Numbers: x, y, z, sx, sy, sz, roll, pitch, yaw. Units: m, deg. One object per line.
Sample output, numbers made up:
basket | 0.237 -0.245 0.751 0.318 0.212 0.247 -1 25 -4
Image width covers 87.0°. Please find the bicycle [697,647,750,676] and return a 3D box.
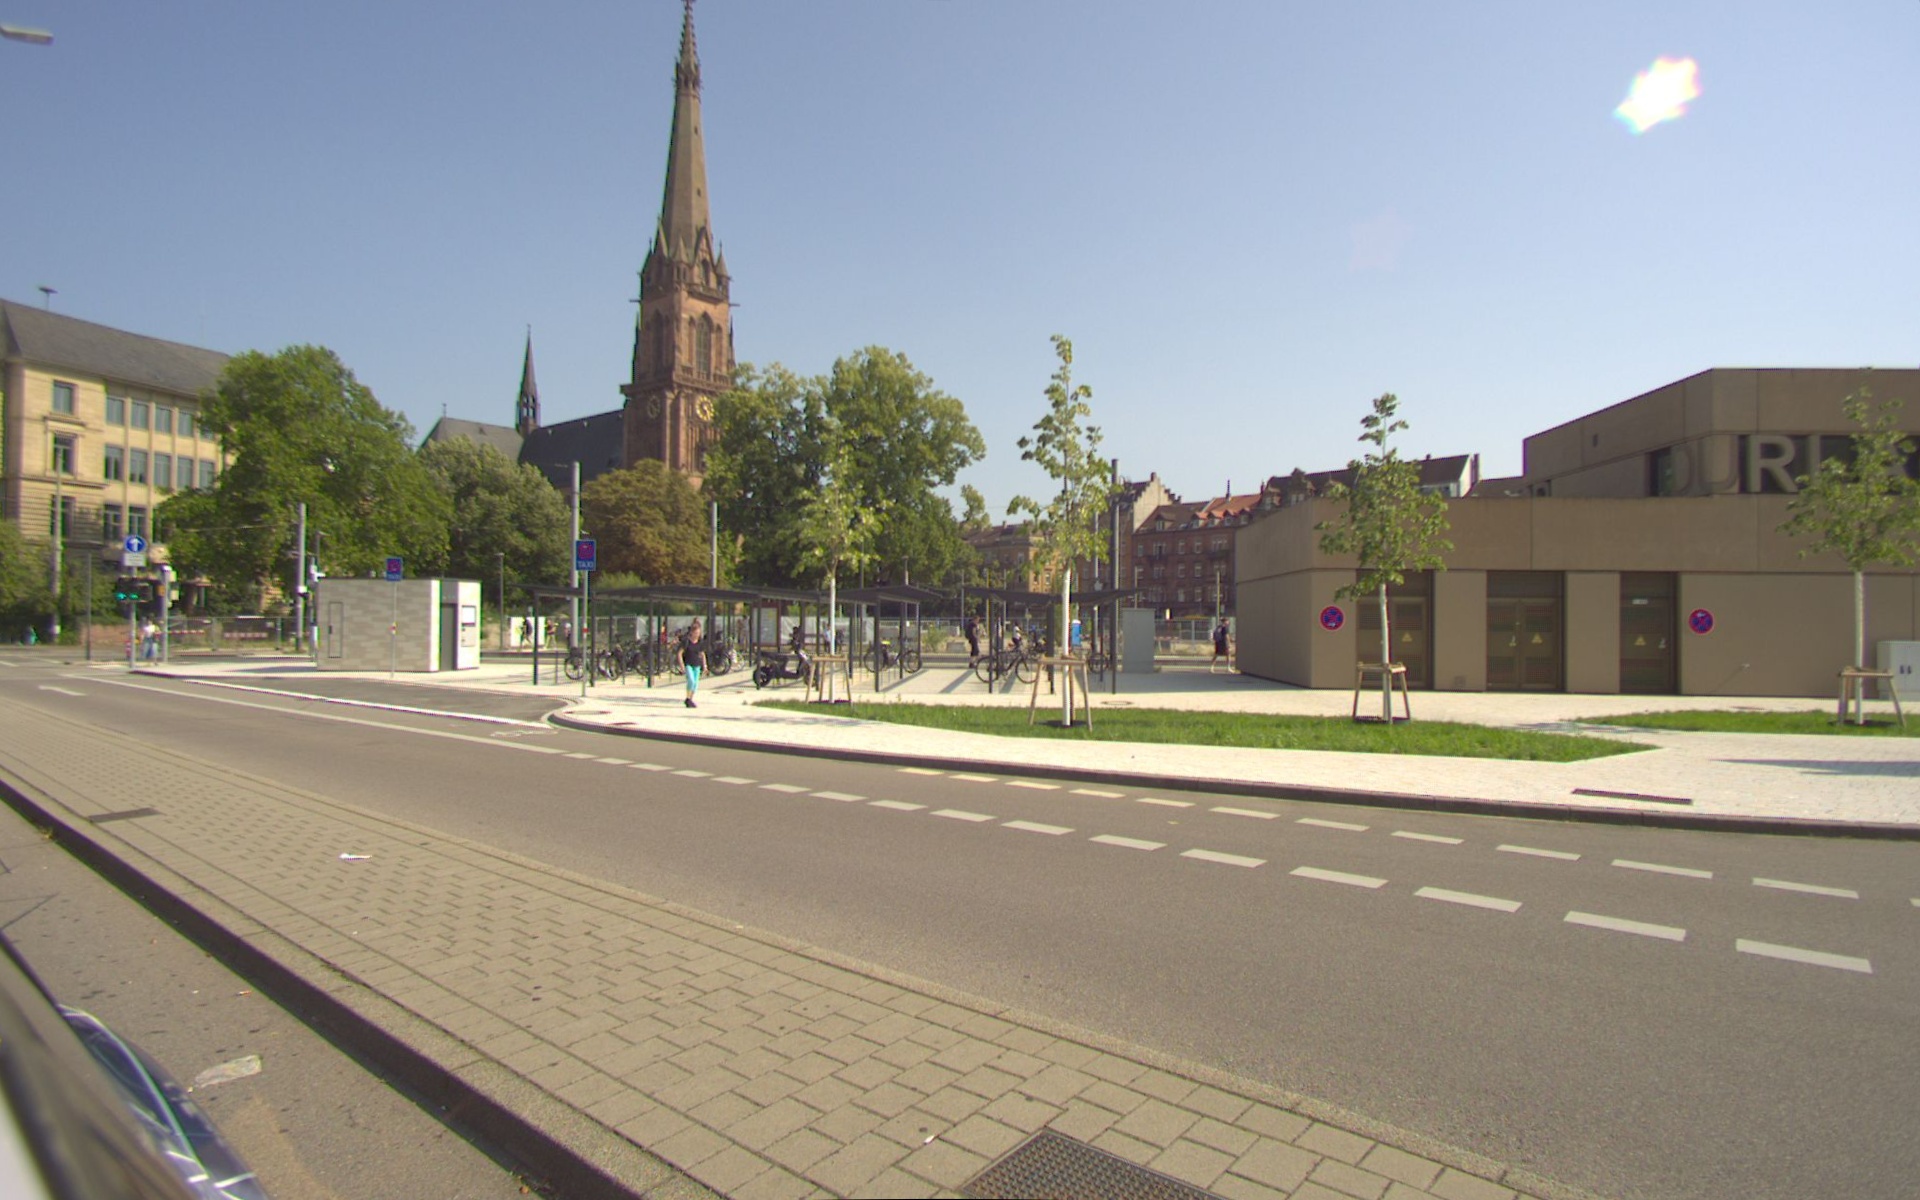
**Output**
bicycle | -7.504 1.942 32.106 1.569 0.899 0.409 0 -2 7

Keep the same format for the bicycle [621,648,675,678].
bicycle | -9.571 1.923 31.050 1.569 0.899 0.400 0 -2 7

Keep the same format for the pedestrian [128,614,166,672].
pedestrian | -28.862 1.509 35.934 0.722 2.029 0.715 0 -2 -4

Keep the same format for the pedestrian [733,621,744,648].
pedestrian | -10.505 1.632 47.995 0.378 1.233 0.439 -1 0 7

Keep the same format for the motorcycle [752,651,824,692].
motorcycle | -4.354 1.809 25.693 1.724 1.017 0.542 0 -2 7

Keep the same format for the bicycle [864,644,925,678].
bicycle | -2.046 1.899 31.640 1.852 1.017 0.461 0 -2 7

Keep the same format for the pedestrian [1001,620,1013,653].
pedestrian | 2.080 1.612 44.683 0.464 1.432 0.567 -1 0 7

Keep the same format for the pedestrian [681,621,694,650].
pedestrian | -12.535 1.620 46.551 0.429 1.328 0.439 -1 0 7

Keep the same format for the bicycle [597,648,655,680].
bicycle | -9.679 1.858 29.376 1.569 0.899 0.400 0 -2 7

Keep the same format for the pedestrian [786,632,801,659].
pedestrian | -7.561 2.075 45.957 0.567 1.206 0.467 0 -2 7

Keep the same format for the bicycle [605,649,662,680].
bicycle | -9.660 1.903 29.930 1.569 0.899 0.409 0 -2 7

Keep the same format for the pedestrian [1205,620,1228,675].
pedestrian | 8.463 1.550 33.378 0.649 1.783 0.473 -1 -2 30

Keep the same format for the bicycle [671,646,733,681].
bicycle | -7.571 1.858 29.736 1.692 0.994 0.532 0 -2 7

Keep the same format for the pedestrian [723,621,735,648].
pedestrian | -10.948 1.641 47.954 0.378 1.233 0.439 -1 0 7

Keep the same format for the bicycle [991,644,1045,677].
bicycle | 1.882 1.948 32.748 1.724 1.017 0.400 0 -2 7

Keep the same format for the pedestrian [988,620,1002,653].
pedestrian | 1.552 1.633 45.459 0.562 1.432 0.468 -1 0 7

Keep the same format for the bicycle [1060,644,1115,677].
bicycle | 4.089 1.929 32.432 1.722 1.028 0.473 0 -2 5

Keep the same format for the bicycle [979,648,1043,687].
bicycle | 1.384 1.832 27.577 1.724 1.017 0.400 0 -2 7

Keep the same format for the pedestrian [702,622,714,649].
pedestrian | -11.923 1.664 47.848 0.378 1.233 0.439 -1 0 7

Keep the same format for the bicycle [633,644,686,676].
bicycle | -9.575 1.897 32.271 1.569 0.985 0.451 0 0 7

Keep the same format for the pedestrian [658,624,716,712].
pedestrian | -5.000 1.236 18.569 0.663 1.577 0.748 0 -3 23

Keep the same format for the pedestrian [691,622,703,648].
pedestrian | -12.499 1.669 48.108 0.378 1.233 0.439 -1 0 7

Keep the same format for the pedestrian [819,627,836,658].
pedestrian | -5.996 1.915 45.741 0.635 1.405 0.661 0 -2 4

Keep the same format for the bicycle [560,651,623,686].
bicycle | -9.968 1.842 27.382 1.569 0.899 0.400 0 -2 7

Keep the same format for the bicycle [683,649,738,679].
bicycle | -7.564 1.930 30.649 1.569 0.899 0.409 0 -2 7

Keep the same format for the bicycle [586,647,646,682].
bicycle | -9.728 1.823 28.649 1.569 0.975 0.421 0 -2 7

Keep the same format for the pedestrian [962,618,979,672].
pedestrian | 0.362 1.530 34.423 0.584 1.815 0.333 0 -2 1

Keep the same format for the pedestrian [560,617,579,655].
pedestrian | -18.086 1.672 46.925 0.388 1.762 0.708 -1 -2 38

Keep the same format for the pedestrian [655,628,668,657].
pedestrian | -13.974 2.000 47.398 0.410 1.328 0.392 -1 0 11

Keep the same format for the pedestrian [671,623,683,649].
pedestrian | -13.317 1.690 47.589 0.378 1.233 0.439 -1 0 7

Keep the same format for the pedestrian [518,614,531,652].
pedestrian | -19.799 1.480 46.006 0.510 1.720 0.505 2 -2 -26
